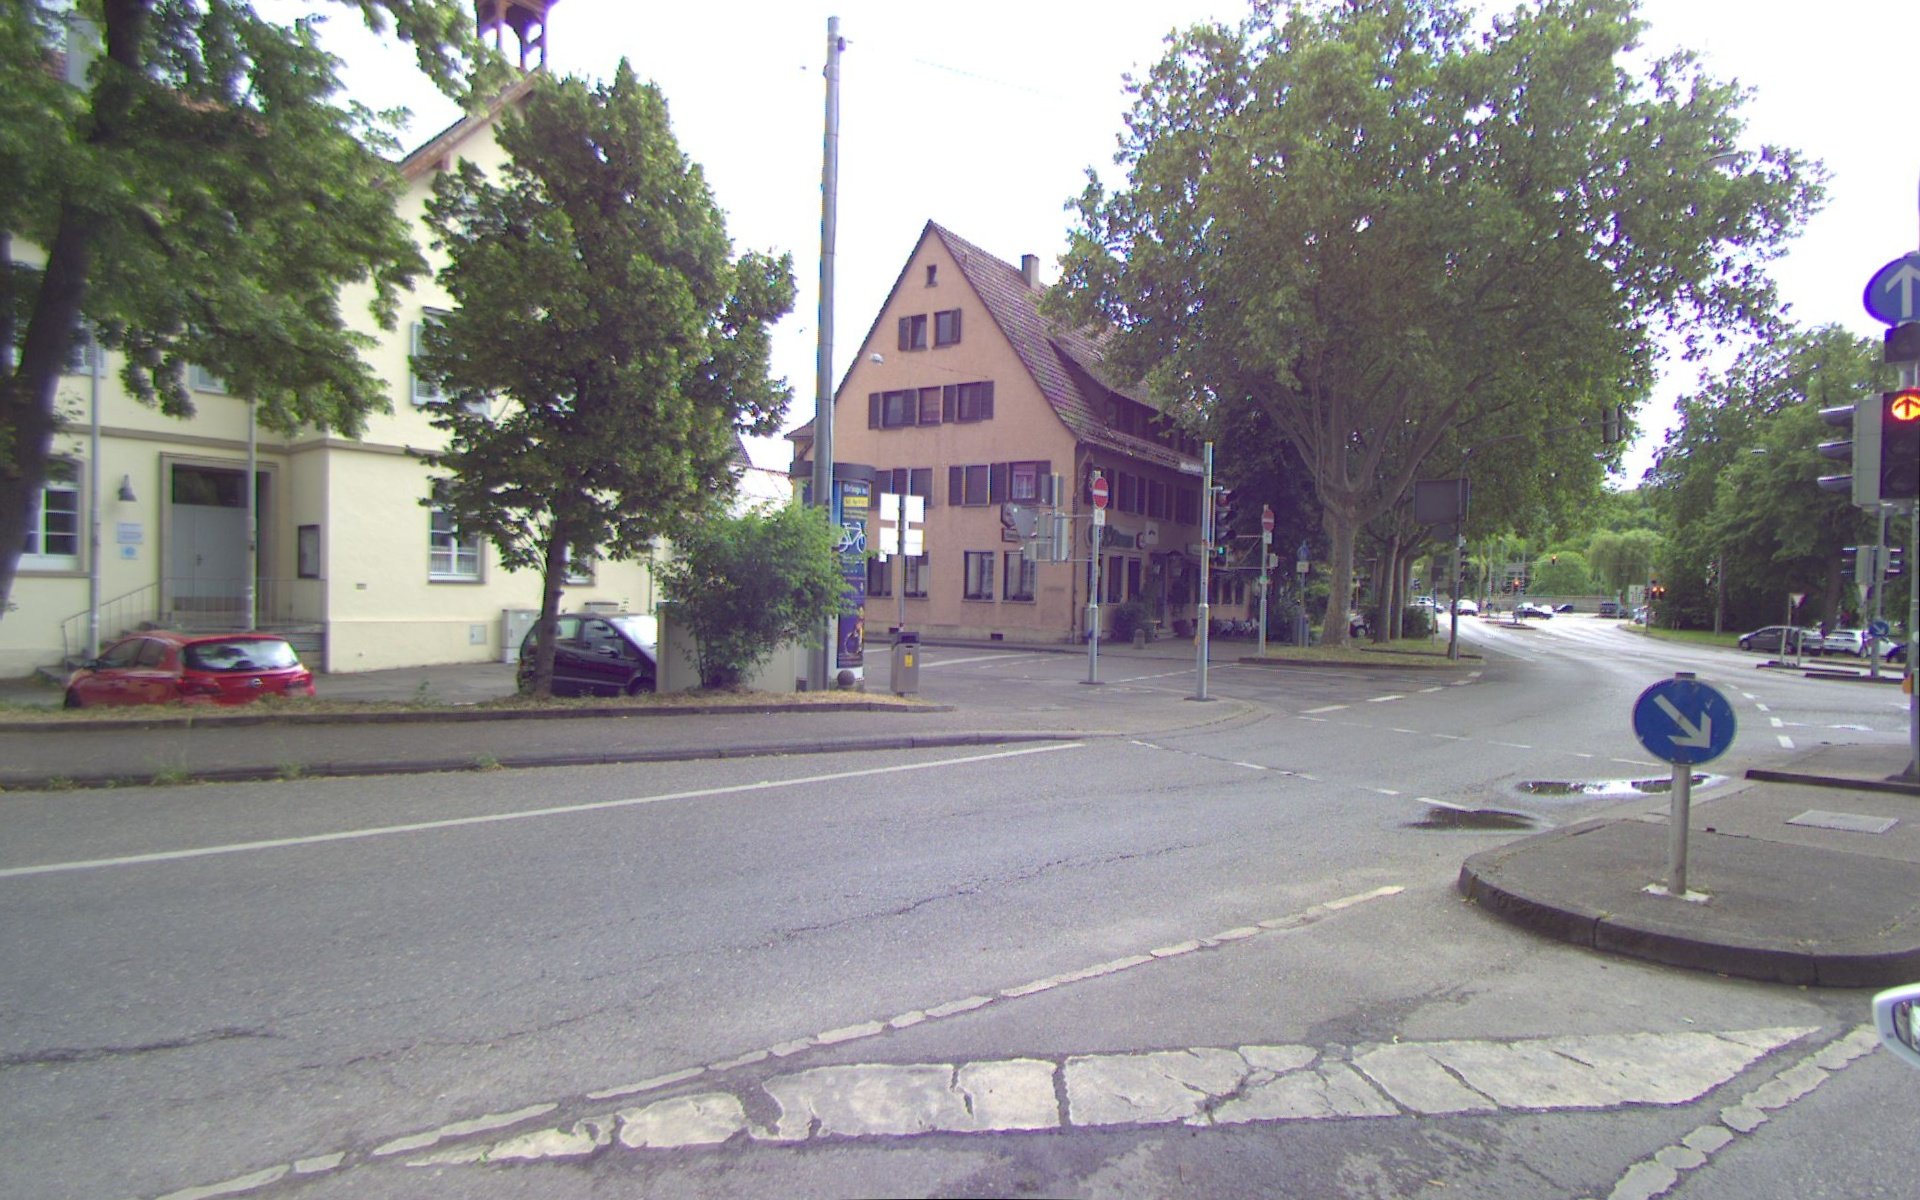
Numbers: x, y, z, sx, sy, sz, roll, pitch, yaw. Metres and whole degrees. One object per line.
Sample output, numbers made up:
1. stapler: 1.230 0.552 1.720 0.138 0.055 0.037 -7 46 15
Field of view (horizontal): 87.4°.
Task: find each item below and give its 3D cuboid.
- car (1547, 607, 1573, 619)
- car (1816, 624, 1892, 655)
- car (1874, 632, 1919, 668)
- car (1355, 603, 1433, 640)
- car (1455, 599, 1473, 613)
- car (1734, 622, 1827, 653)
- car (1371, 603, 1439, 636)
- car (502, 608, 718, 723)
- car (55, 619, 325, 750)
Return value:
1. car: 108.218 2.314 181.096 3.928 2.040 1.996 2 0 30
2. car: 47.295 2.081 53.164 3.342 1.484 1.543 2 0 -19
3. car: 39.563 2.077 40.948 1.442 1.412 3.596 2 0 3
4. car: 21.402 1.047 49.585 3.387 1.663 1.570 2 0 28
5. car: 55.788 0.641 111.295 1.404 1.435 2.872 1 -1 19
6. car: 43.856 1.968 53.764 1.559 1.484 3.543 2 0 -17
7. car: 25.462 1.085 57.470 3.387 1.765 1.570 2 0 28
8. car: -5.770 1.006 16.595 3.035 1.654 1.607 2 0 22
9. car: -10.181 1.013 13.247 3.492 1.397 1.605 2 0 30
